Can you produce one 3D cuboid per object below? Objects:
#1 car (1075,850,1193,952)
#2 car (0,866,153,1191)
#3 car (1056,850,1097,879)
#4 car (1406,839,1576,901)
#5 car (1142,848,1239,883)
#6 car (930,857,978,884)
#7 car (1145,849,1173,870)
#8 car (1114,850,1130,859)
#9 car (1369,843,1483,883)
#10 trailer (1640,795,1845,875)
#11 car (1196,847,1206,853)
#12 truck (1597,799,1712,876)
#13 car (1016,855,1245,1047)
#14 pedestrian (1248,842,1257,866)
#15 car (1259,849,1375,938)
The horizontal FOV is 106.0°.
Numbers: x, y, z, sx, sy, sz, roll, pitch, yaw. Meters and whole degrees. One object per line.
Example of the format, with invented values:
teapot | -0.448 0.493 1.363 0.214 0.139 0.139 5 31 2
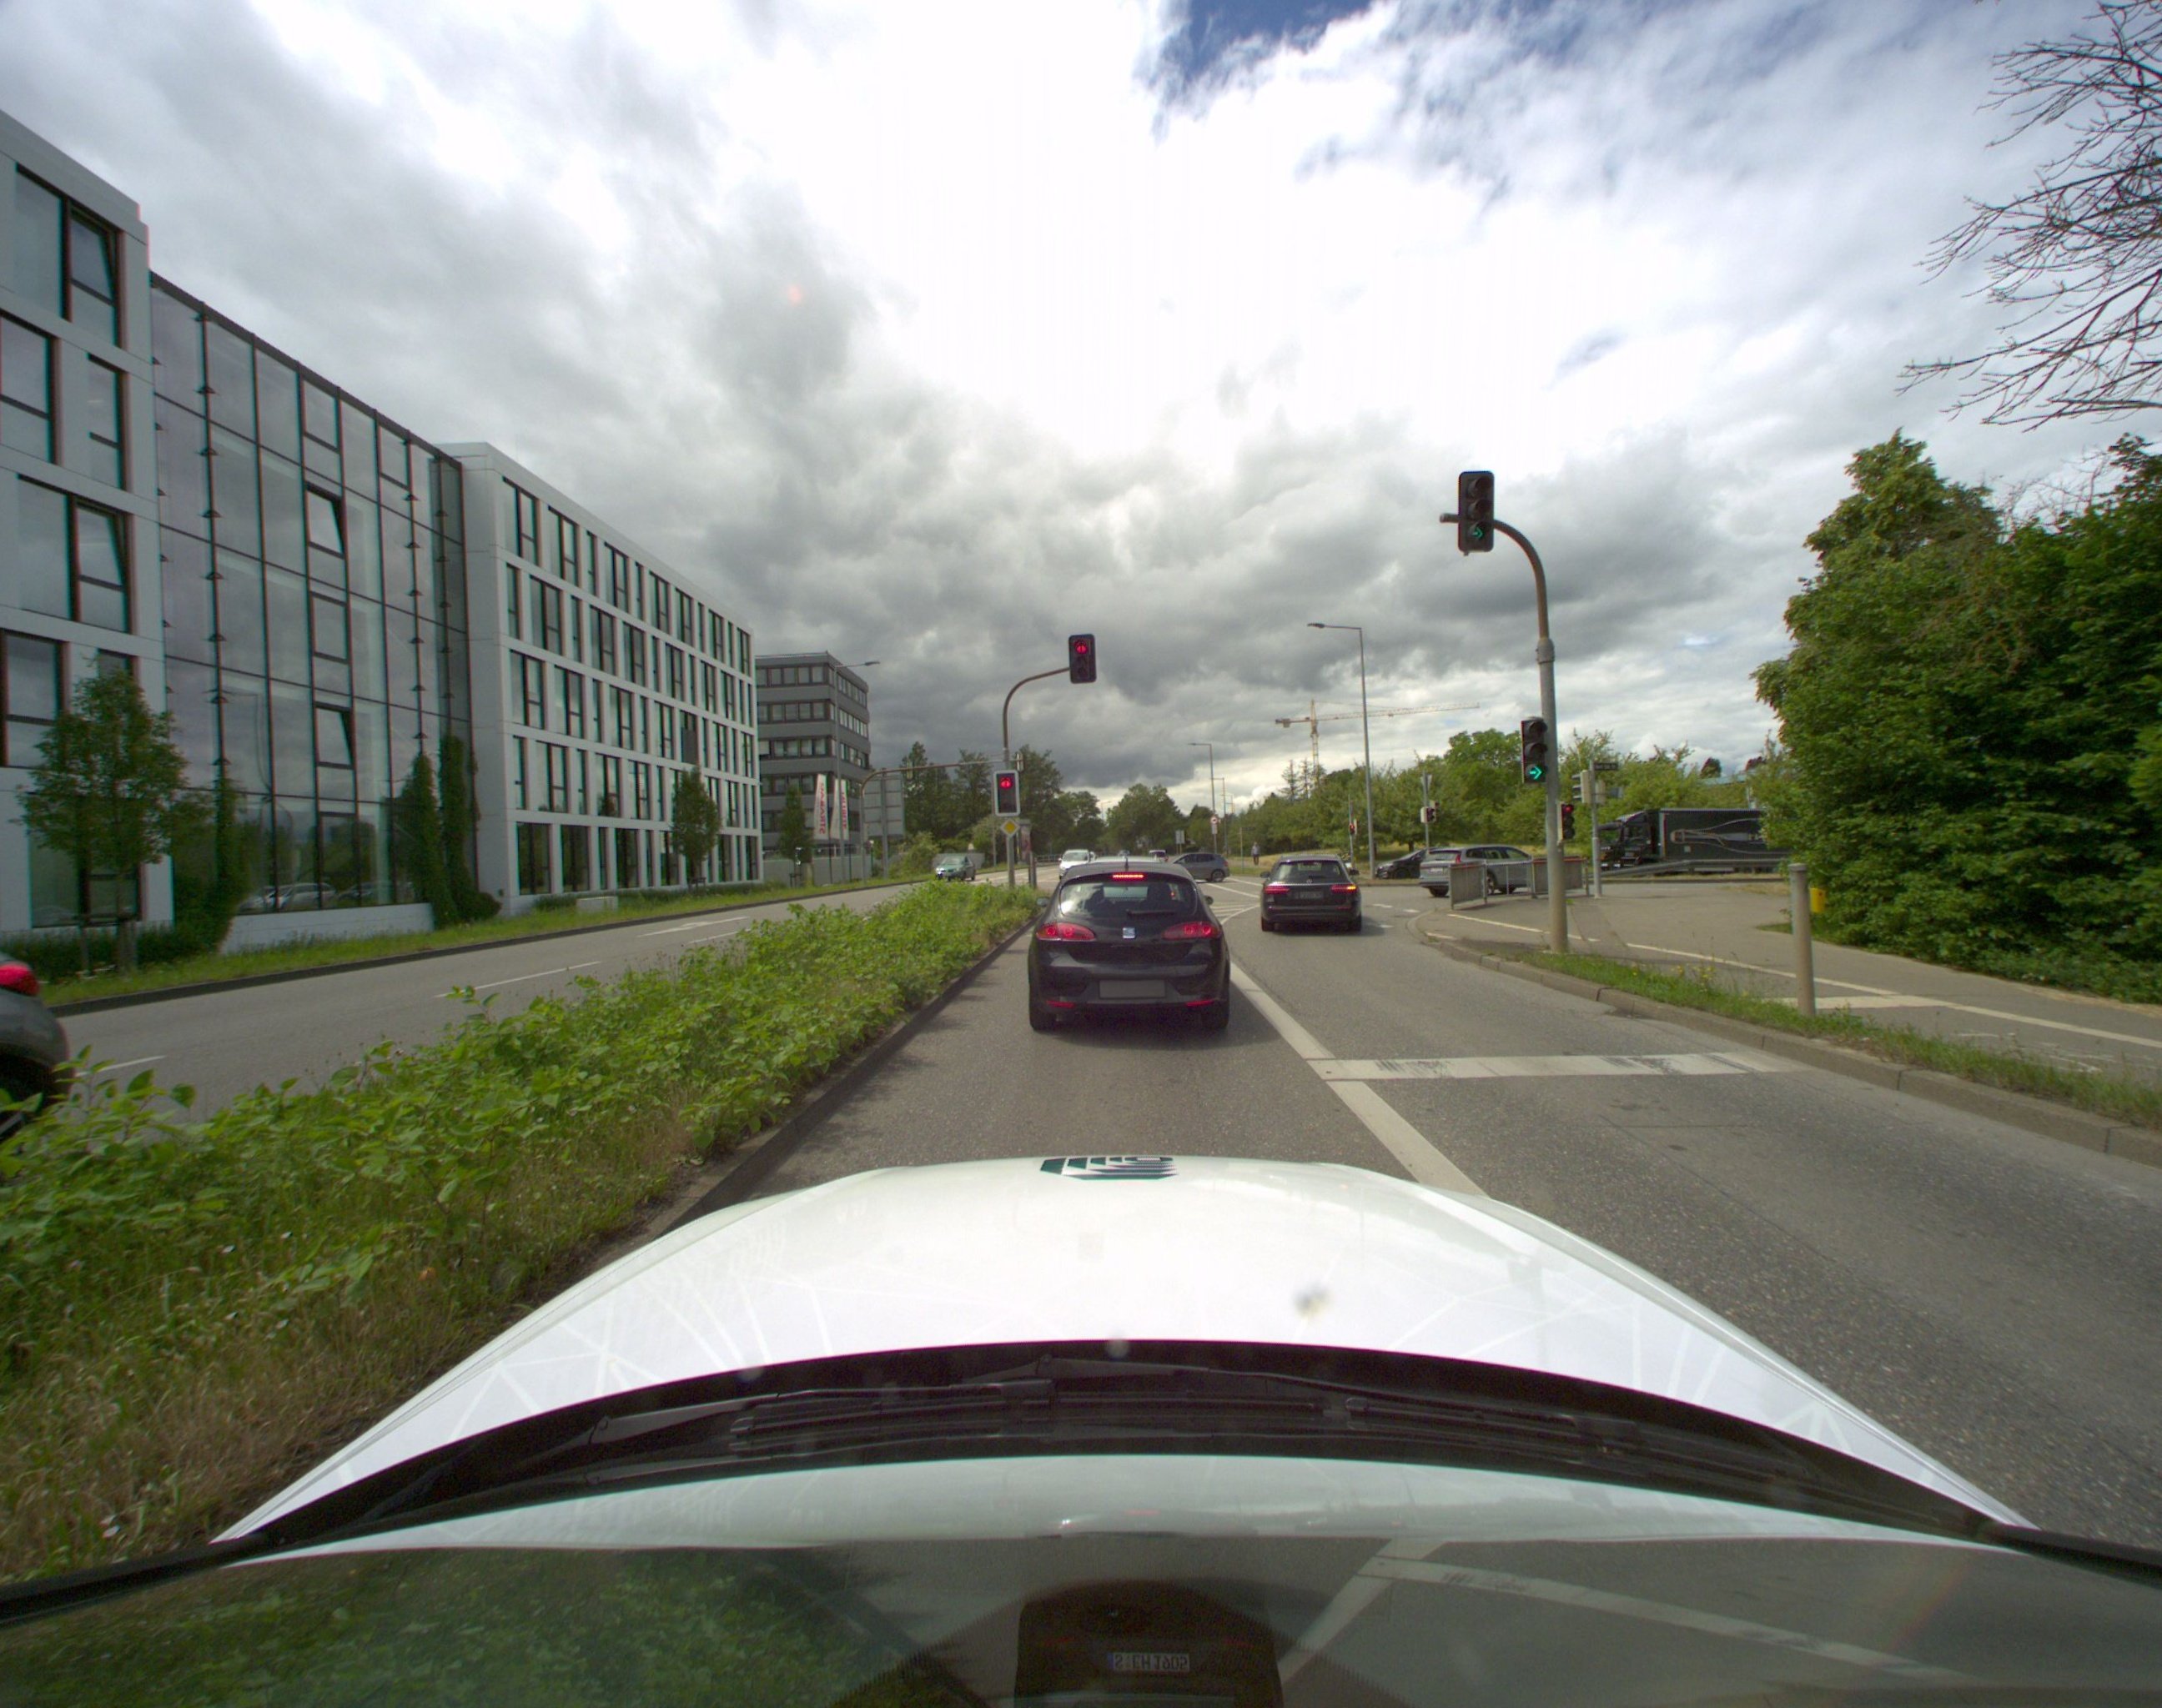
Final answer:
car | 0.811 0.723 14.386 1.768 1.491 3.581 -3 0 0
car | -6.047 0.867 2.432 1.929 1.517 3.998 -2 0 -1
car | -0.231 0.583 47.558 1.984 1.596 4.006 -2 0 5
car | 12.028 0.424 23.925 4.445 1.518 1.857 -3 0 -19
car | 5.293 0.544 39.718 4.300 1.525 1.995 -2 0 -7
car | -7.156 0.893 46.280 1.986 1.352 4.002 -1 0 2
car | 6.098 0.399 63.977 1.985 1.530 4.004 -2 0 4
car | 6.614 0.107 130.134 1.981 1.352 4.011 -1 0 10
car | 15.375 0.394 36.533 4.283 1.615 2.003 -2 0 5
trailer | 30.848 -0.842 38.183 7.545 3.458 2.004 -1 0 6
car | 26.889 -0.892 182.771 1.981 1.352 4.011 -1 0 10
truck | 27.107 -0.763 38.614 3.964 3.469 2.005 -1 0 8
car | 0.443 0.761 8.139 1.766 1.451 3.584 -1 0 2
pedestrian | 12.860 -0.005 61.167 0.556 1.726 0.588 -1 0 2
car | 4.658 0.687 16.736 1.860 1.440 5.217 -3 0 12
